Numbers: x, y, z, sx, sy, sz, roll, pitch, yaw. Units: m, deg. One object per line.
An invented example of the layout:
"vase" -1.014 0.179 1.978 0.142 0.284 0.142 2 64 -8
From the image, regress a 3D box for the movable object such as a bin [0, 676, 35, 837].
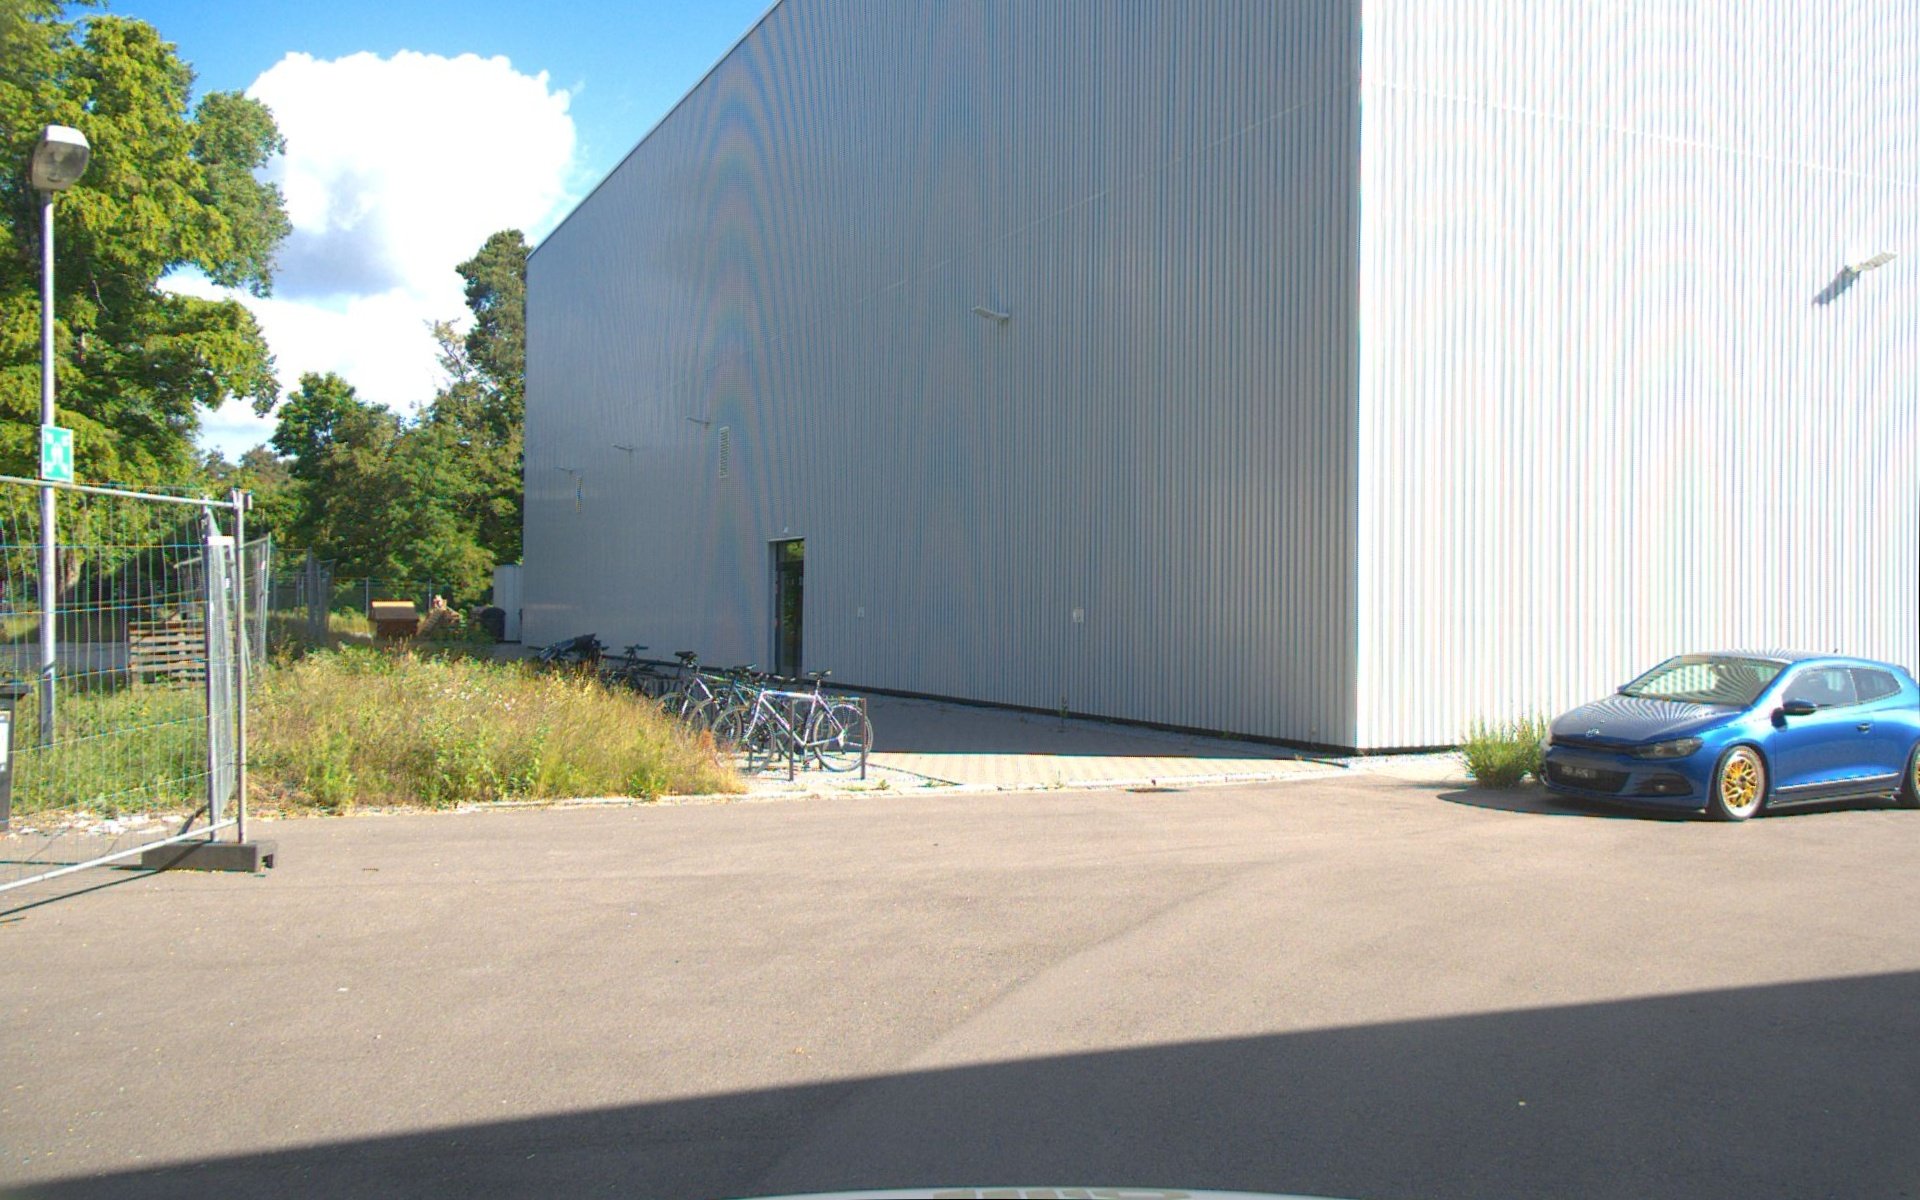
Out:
"movable object such as a bin" -6.594 1.028 10.966 0.630 1.025 0.603 0 -1 -11

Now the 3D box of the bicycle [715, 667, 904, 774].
"bicycle" -1.490 1.183 16.543 1.861 0.995 0.429 0 -1 -27

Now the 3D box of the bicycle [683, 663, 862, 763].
"bicycle" -1.979 1.180 17.566 1.861 0.995 0.429 0 -1 -27

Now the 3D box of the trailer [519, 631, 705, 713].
"trailer" -5.522 1.113 26.249 2.678 1.221 1.235 0 -1 -27

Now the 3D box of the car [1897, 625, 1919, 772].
"car" 11.847 1.071 17.306 3.839 1.499 1.740 1 1 -28

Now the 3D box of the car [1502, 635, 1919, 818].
"car" 6.994 1.057 14.768 4.106 1.408 1.739 1 -1 -28

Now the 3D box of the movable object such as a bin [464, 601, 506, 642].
"movable object such as a bin" -19.948 0.914 69.427 1.345 1.685 2.821 0 -1 -23

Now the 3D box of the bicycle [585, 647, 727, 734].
"bicycle" -4.109 1.214 22.414 1.861 1.123 0.429 0 -1 -27

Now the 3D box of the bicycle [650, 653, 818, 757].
"bicycle" -2.547 1.170 18.728 1.861 1.101 0.429 0 -1 -27

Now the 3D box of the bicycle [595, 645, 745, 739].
"bicycle" -3.698 1.156 21.157 1.861 1.145 0.429 0 -1 -27
